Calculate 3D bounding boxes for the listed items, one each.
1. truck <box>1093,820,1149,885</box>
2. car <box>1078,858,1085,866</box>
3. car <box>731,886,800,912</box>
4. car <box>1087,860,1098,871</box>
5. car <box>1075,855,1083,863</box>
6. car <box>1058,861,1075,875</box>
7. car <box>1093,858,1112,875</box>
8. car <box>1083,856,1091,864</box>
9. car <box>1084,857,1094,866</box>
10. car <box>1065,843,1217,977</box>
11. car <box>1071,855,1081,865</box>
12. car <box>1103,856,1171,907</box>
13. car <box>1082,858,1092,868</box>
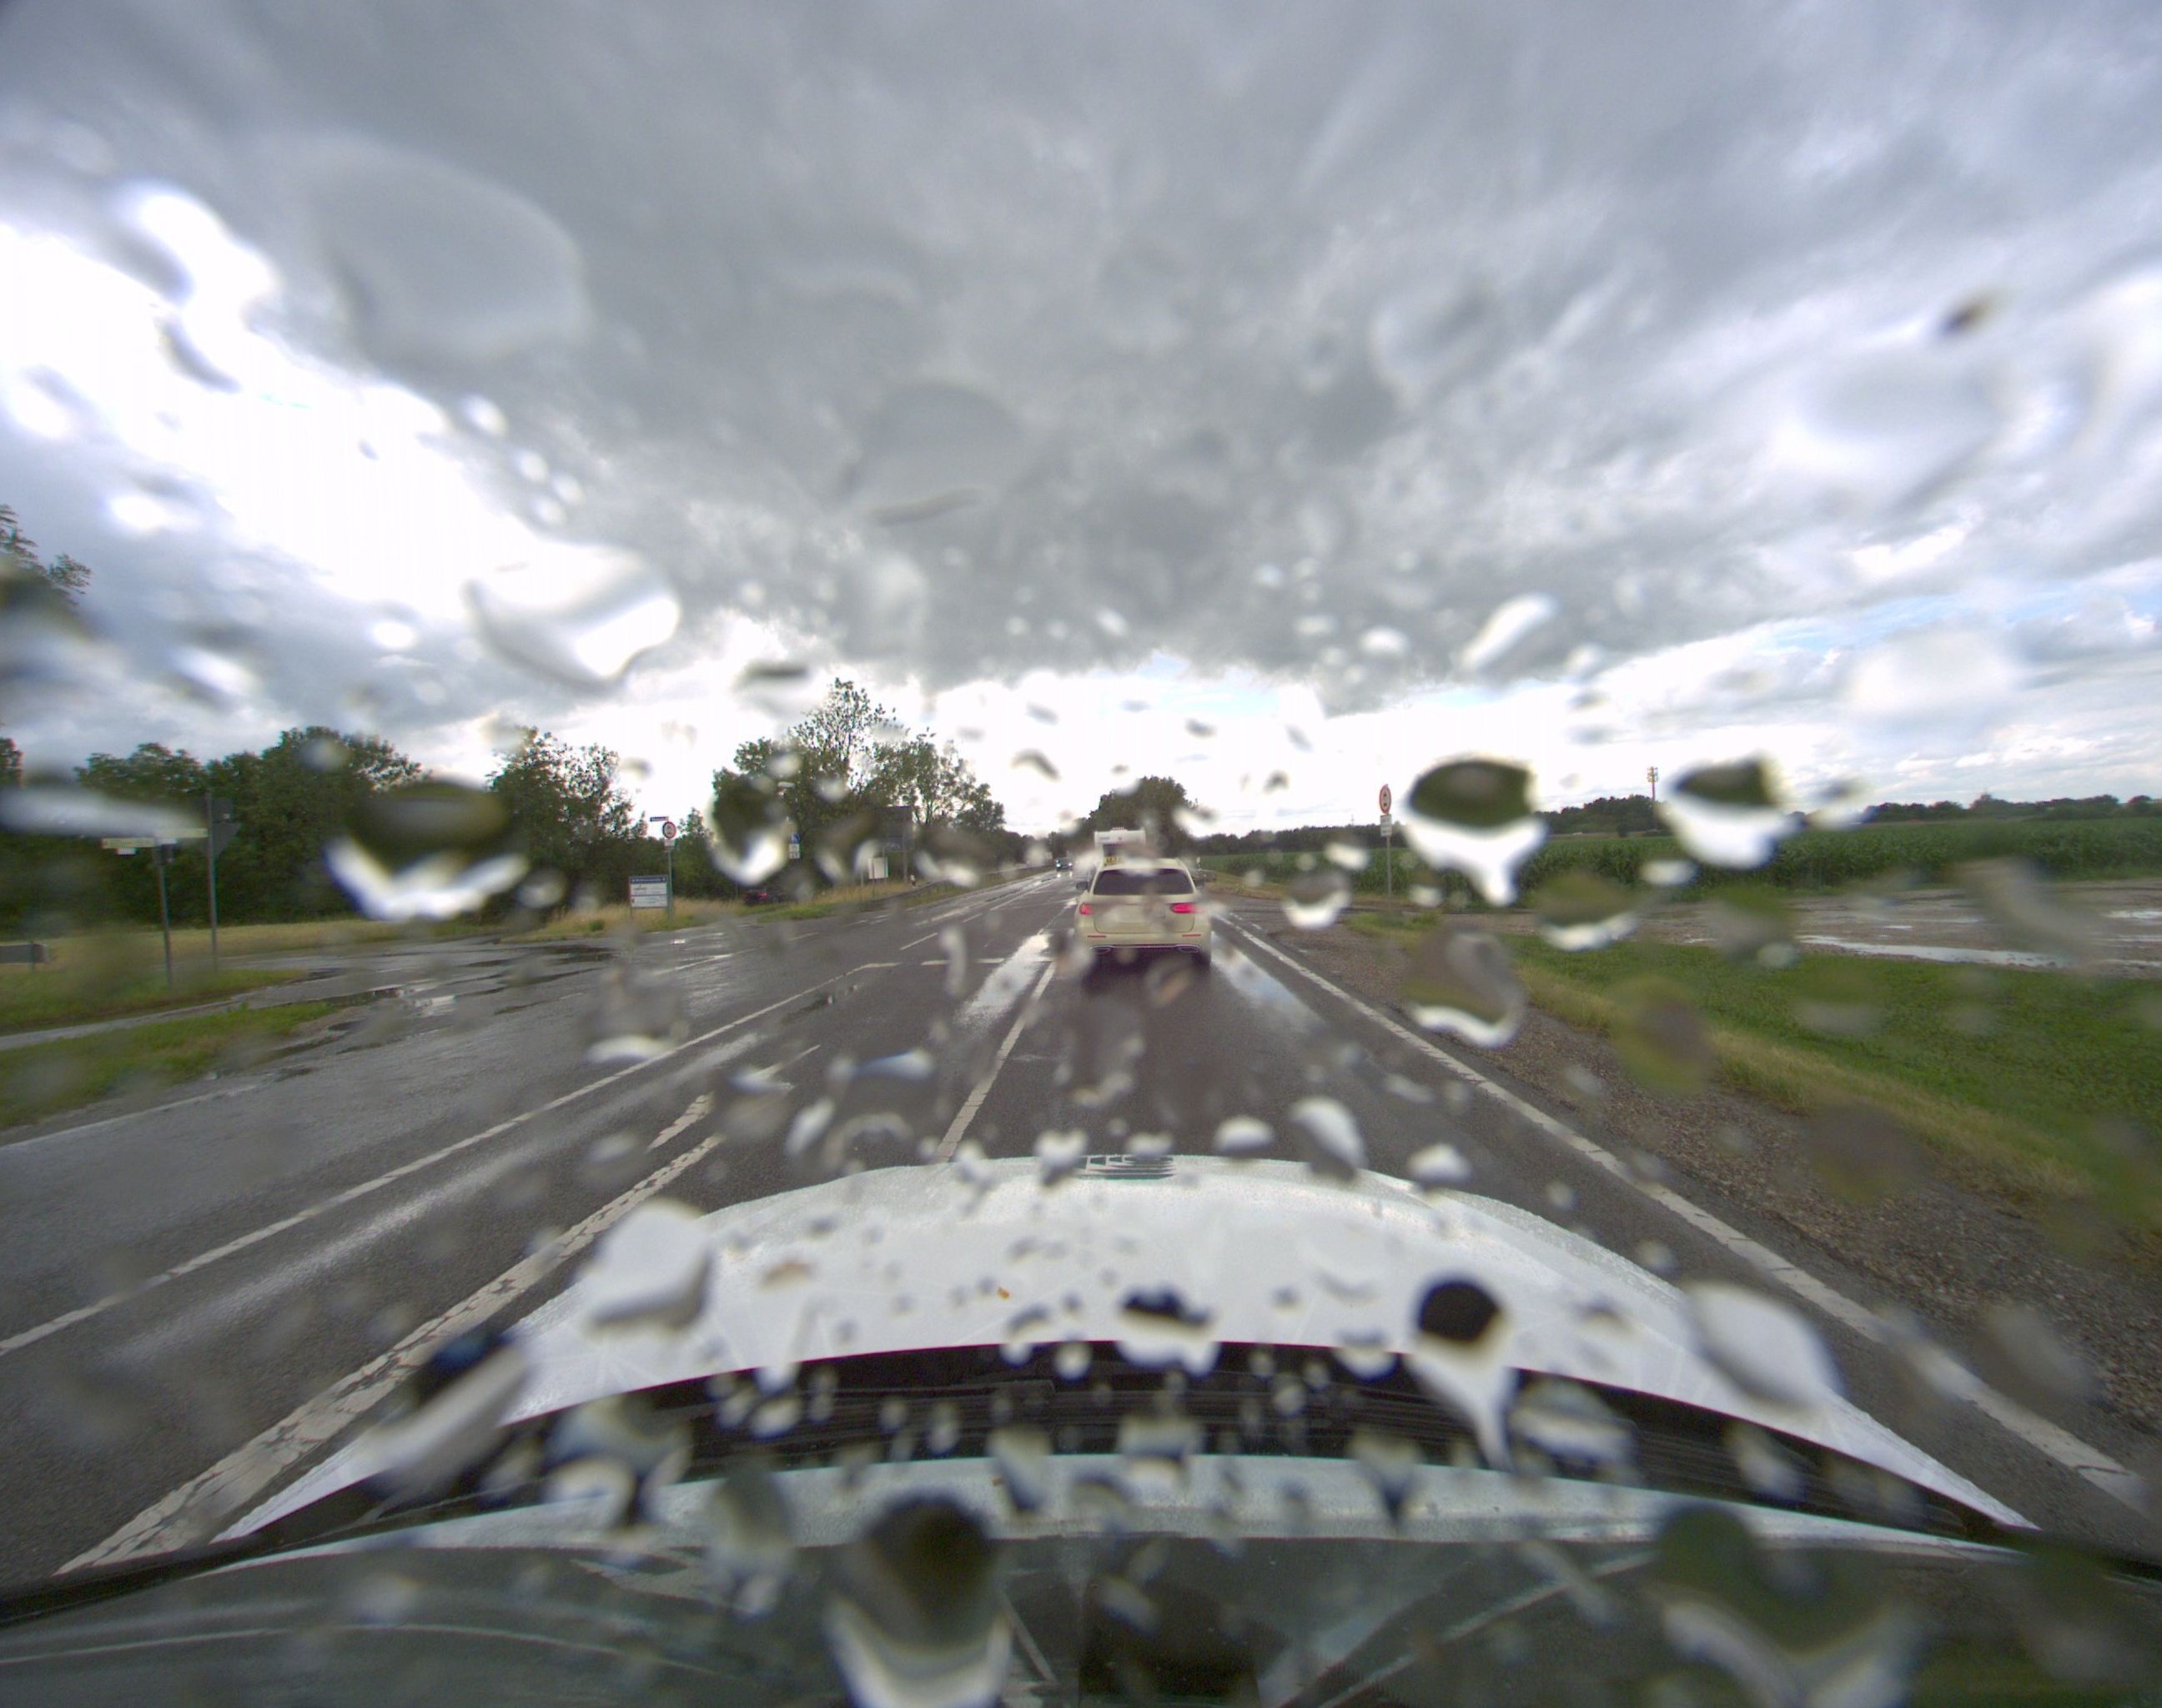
[{"bbox_3d":[1.876,-0.073,39.422,2.354,2.729,7.317,-2,0,2],"label":"truck"},{"bbox_3d":[0.114,1.969,200.927,1.744,1.662,3.669,-2,0,-2],"label":"car"},{"bbox_3d":[-21.377,3.014,55.360,2.288,1.547,4.644,0,0,9],"label":"car"},{"bbox_3d":[2.026,1.959,139.925,1.784,1.777,3.722,-2,0,2],"label":"car"},{"bbox_3d":[-0.625,1.238,209.260,1.890,1.895,3.841,-2,0,-1],"label":"car"},{"bbox_3d":[-1.668,1.656,94.351,1.821,1.574,4.002,0,0,2],"label":"car"},{"bbox_3d":[2.528,1.409,94.652,1.907,1.841,3.800,-2,0,5],"label":"car"},{"bbox_3d":[1.448,1.464,191.637,1.733,1.860,3.786,-2,0,2],"label":"car"},{"bbox_3d":[1.516,1.477,158.678,1.872,1.761,3.835,-2,0,2],"label":"car"},{"bbox_3d":[0.804,0.692,12.016,1.836,1.618,4.002,-1,0,2],"label":"car"},{"bbox_3d":[-0.933,1.064,149.100,1.574,1.640,3.443,-2,0,1],"label":"car"},{"bbox_3d":[1.719,0.811,25.864,1.986,1.462,4.002,0,0,2],"label":"car"},{"bbox_3d":[1.227,1.881,167.230,1.845,2.013,3.812,-2,0,2],"label":"car"}]
